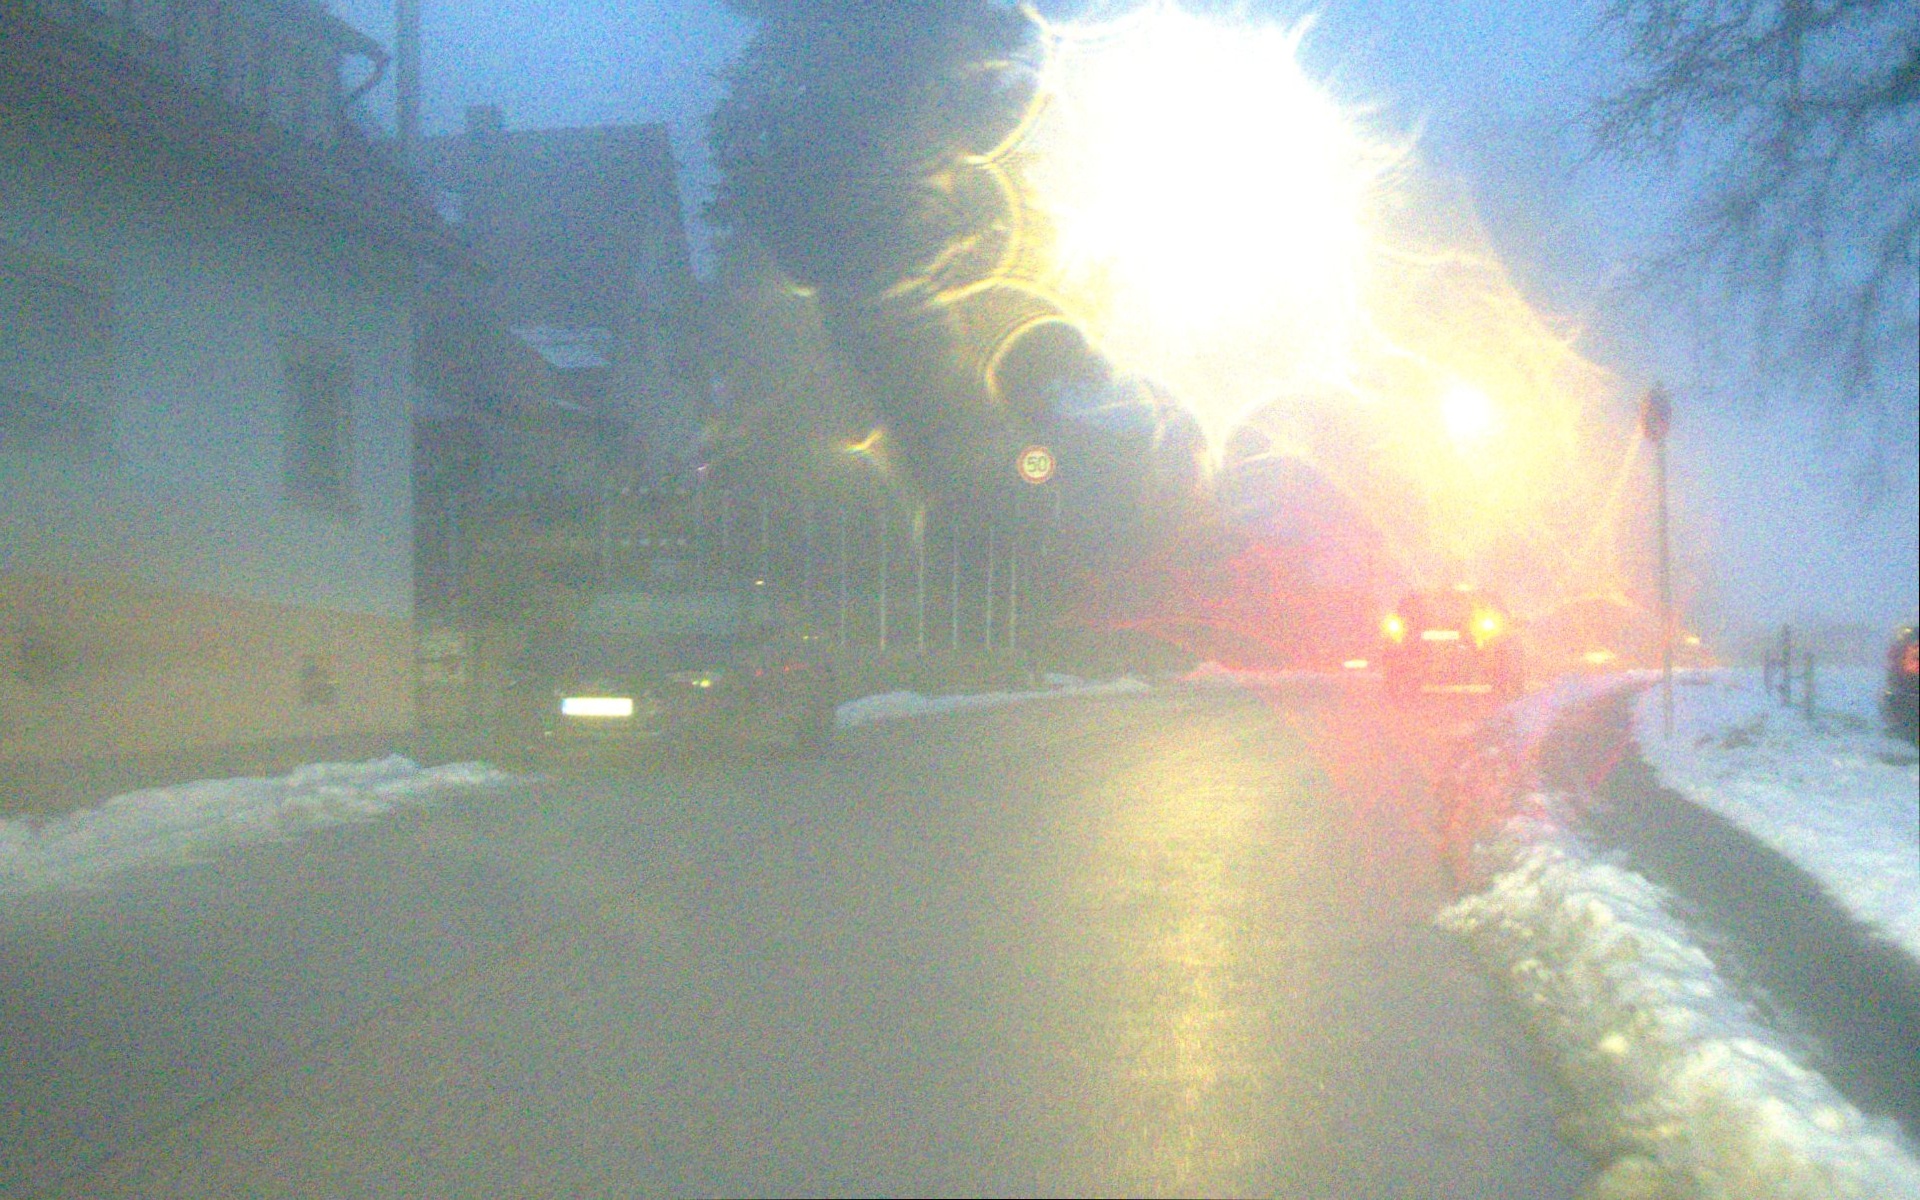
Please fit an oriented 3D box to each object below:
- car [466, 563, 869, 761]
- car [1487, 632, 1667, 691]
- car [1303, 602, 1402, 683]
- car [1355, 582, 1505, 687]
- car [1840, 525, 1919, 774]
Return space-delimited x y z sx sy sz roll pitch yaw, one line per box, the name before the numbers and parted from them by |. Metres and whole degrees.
car | -2.228 0.436 27.874 1.877 1.421 5.389 1 0 11
car | 18.433 1.841 102.699 4.892 1.480 2.121 -4 -3 22
car | 9.055 1.014 79.657 1.994 1.561 4.996 -4 -3 4
car | 6.696 0.494 48.651 1.994 1.415 3.998 0 -1 9
car | 7.470 0.413 19.830 4.452 1.377 2.035 4 1 11
